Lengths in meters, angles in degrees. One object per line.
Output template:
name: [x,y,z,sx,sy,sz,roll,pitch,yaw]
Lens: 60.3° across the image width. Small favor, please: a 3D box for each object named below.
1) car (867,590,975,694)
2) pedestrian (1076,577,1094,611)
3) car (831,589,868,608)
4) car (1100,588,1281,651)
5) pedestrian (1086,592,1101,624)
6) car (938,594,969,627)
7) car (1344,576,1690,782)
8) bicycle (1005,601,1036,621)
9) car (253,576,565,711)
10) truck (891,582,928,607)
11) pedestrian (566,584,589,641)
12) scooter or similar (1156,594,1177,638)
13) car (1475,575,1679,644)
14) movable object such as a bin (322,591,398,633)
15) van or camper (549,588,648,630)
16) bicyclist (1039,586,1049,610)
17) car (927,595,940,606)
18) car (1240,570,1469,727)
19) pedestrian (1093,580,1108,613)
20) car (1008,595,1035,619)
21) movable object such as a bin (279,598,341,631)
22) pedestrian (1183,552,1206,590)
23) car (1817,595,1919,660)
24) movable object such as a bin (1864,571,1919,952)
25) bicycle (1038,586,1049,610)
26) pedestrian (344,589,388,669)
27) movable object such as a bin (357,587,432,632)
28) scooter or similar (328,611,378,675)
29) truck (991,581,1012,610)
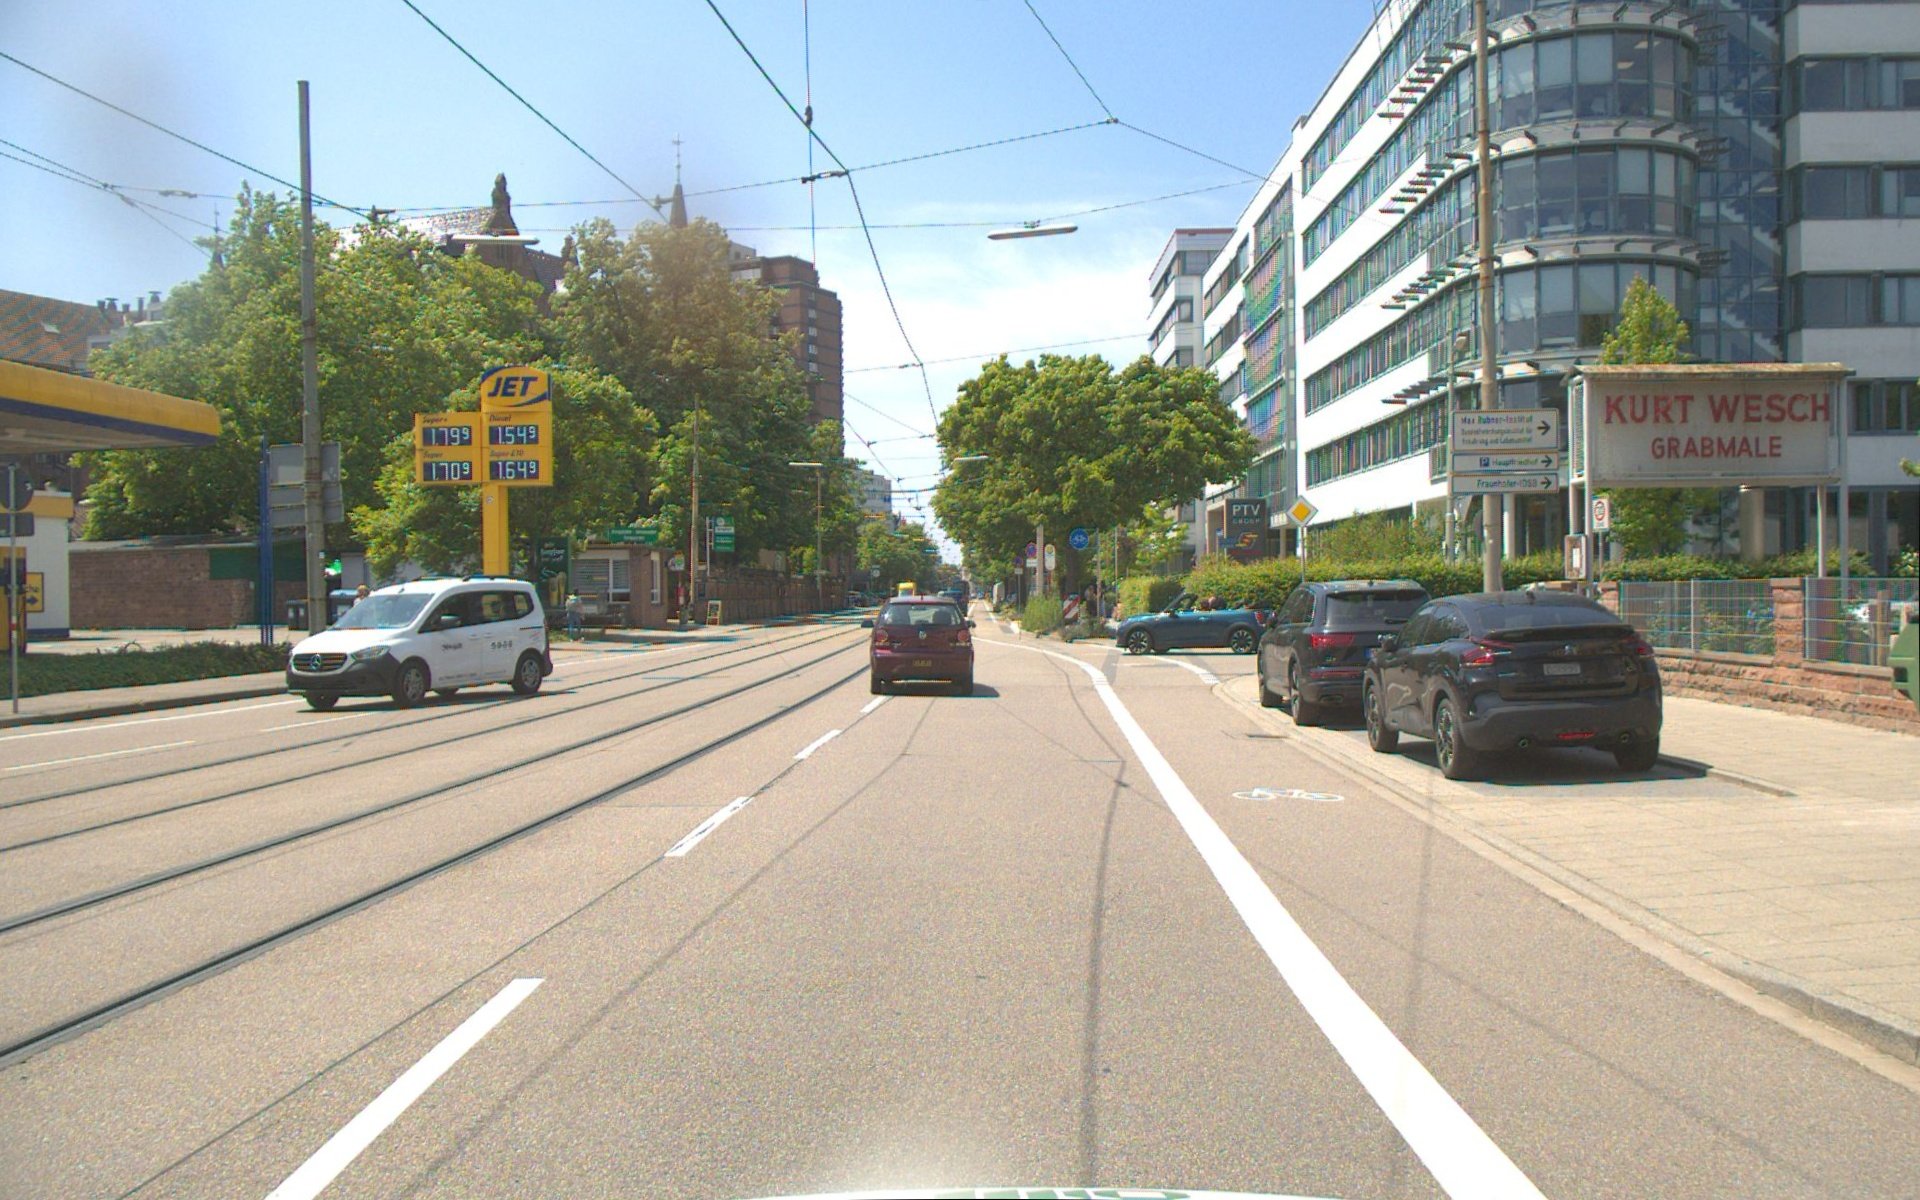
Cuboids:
car: [-0.605,0.615,26.541,1.586,1.512,3.999,1,0,-1]
pedestrian: [6.805,-0.329,89.859,0.670,1.828,0.668,-2,0,-31]
car: [-12.385,-0.133,185.427,3.903,2.049,2.001,-1,0,5]
car: [5.364,0.452,38.457,3.836,1.396,1.702,-1,0,25]
pedestrian: [7.166,0.431,88.949,0.531,1.745,0.560,-2,-1,-29]
car: [-0.440,0.672,108.919,1.953,2.049,3.999,1,0,-2]
car: [4.969,0.638,15.452,1.736,1.575,4.468,-3,0,1]
bicycle: [3.654,0.660,99.722,1.845,1.203,0.694,-1,0,0]
car: [-8.132,0.572,24.896,1.953,1.831,4.552,0,0,23]
truck: [-6.016,-0.676,197.076,2.319,2.835,7.324,-1,0,16]
pedestrian: [-12.275,0.385,53.106,0.568,1.806,0.699,1,0,-3]
scooter or similar: [6.040,0.462,48.445,0.319,1.244,1.152,1,0,22]
car: [14.195,0.207,38.208,4.061,1.485,1.819,-1,0,4]
movable object such as a bin: [-21.443,0.402,59.152,1.491,1.457,2.098,1,0,25]
van or camper: [-15.010,0.373,68.788,3.706,1.657,1.872,1,1,0]
bicyclist: [6.332,-0.147,125.312,0.682,1.831,0.888,-2,-1,4]
car: [-3.894,0.089,242.055,1.734,1.542,4.000,-1,0,1]
car: [4.988,0.547,21.667,1.884,1.722,5.083,-3,0,2]
pedestrian: [7.585,-0.206,89.545,0.531,1.745,0.560,-2,-1,-29]
car: [4.177,0.453,112.294,1.654,1.529,3.627,-2,0,0]
movable object such as a bin: [-23.473,0.516,59.781,1.376,1.157,1.563,1,0,25]
pedestrian: [11.093,-1.380,78.329,0.855,1.745,1.090,-2,-1,17]
car: [22.337,0.602,38.312,4.064,1.433,1.767,-1,0,-1]
movable object such as a bin: [4.372,0.602,6.213,1.297,1.480,1.057,-3,0,-3]
bicycle: [6.328,-0.129,125.314,0.675,1.816,1.811,-2,-1,4]
pedestrian: [-12.941,0.616,36.048,0.611,1.720,0.723,-1,0,12]
movable object such as a bin: [-19.974,0.323,58.453,1.491,1.535,2.098,1,0,25]
scooter or similar: [-12.047,0.838,32.855,0.508,1.221,1.376,0,0,-2]
truck: [4.082,-0.453,162.063,1.952,2.708,4.875,1,0,0]
